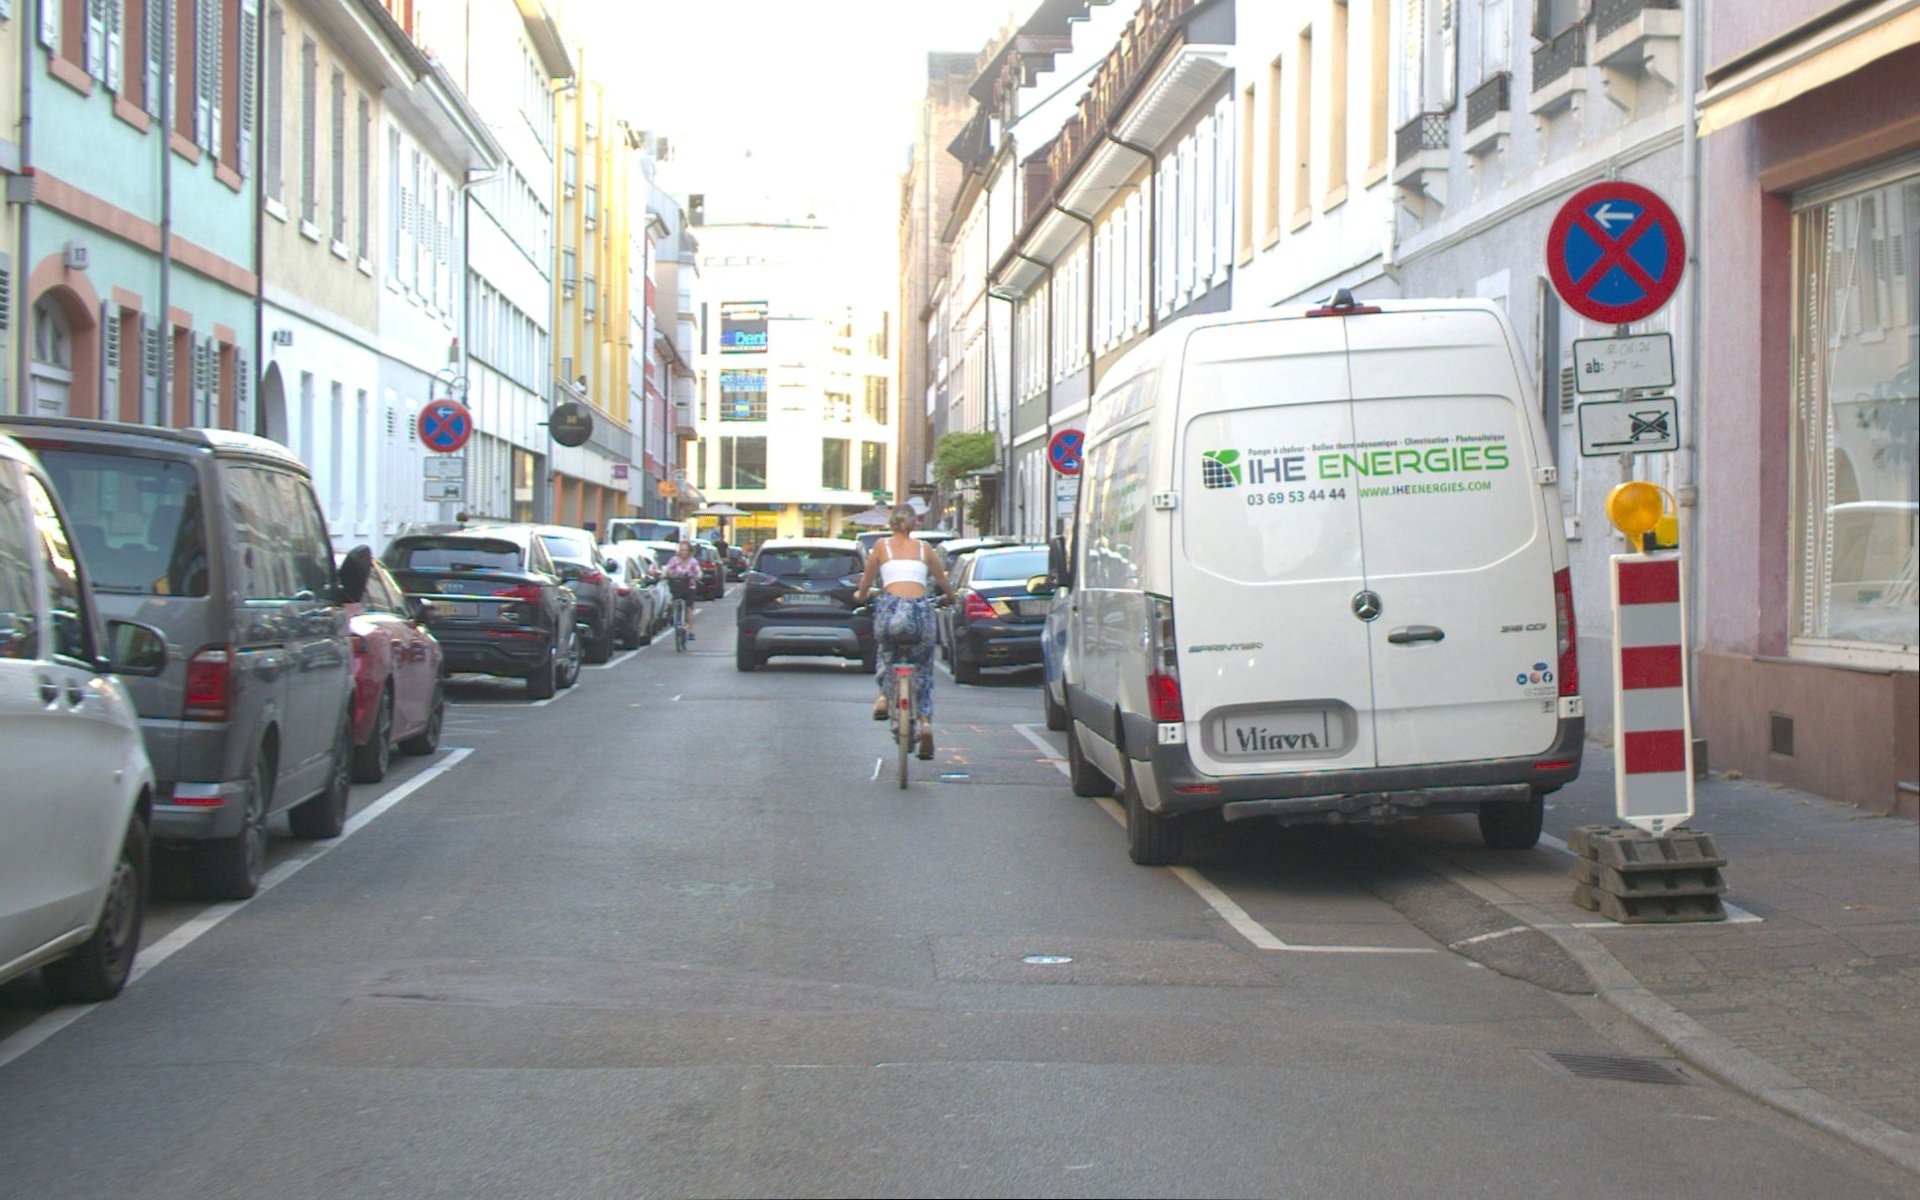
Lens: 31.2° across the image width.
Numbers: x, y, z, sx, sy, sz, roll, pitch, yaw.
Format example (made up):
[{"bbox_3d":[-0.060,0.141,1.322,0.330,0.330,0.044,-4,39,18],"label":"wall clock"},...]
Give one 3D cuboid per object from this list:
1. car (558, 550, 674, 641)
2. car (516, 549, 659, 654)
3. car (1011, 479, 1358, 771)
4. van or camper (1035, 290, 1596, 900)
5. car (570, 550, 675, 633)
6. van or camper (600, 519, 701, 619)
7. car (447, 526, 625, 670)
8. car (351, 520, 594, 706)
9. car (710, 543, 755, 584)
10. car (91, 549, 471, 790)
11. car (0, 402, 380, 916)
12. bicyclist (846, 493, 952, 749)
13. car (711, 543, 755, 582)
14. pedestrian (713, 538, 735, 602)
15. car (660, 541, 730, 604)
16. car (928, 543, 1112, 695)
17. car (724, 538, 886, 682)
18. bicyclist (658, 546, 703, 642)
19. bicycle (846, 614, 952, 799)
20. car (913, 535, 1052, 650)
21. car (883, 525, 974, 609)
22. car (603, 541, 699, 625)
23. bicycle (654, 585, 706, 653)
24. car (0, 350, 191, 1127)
[{"bbox_3d":[-5.713,-0.099,57.372,1.653,1.406,3.903,2,1,-2],"label":"car"},{"bbox_3d":[-5.504,-0.009,51.230,1.918,1.429,4.294,2,1,-4],"label":"car"},{"bbox_3d":[1.569,0.137,26.008,1.941,1.888,5.318,-3,1,-3],"label":"car"},{"bbox_3d":[1.621,-0.081,18.451,2.050,2.628,7.063,1,1,-2],"label":"van or camper"},{"bbox_3d":[-6.127,-0.179,62.719,1.653,1.406,3.606,2,1,-2],"label":"car"},{"bbox_3d":[-6.582,-0.675,73.492,1.844,2.006,4.679,2,1,-2],"label":"van or camper"},{"bbox_3d":[-5.457,-0.059,44.698,1.997,1.701,4.536,2,1,-4],"label":"car"},{"bbox_3d":[-4.679,0.087,33.545,1.802,1.671,4.490,1,1,-1],"label":"car"},{"bbox_3d":[-8.951,-1.454,135.486,1.653,1.555,3.606,2,1,-2],"label":"car"},{"bbox_3d":[-4.328,0.385,22.509,1.764,1.397,4.263,1,1,-2],"label":"car"},{"bbox_3d":[-3.859,0.186,15.845,1.862,2.007,4.815,1,1,-4],"label":"car"},{"bbox_3d":[-0.387,0.127,21.542,0.621,1.569,0.684,1,1,-1],"label":"bicyclist"},{"bbox_3d":[-9.394,-1.556,142.303,1.653,1.555,3.606,2,1,-2],"label":"car"},{"bbox_3d":[-6.464,-0.820,93.979,0.553,1.746,0.568,1,1,-5],"label":"pedestrian"},{"bbox_3d":[-6.936,-0.725,90.214,1.653,1.555,3.606,2,1,-2],"label":"car"},{"bbox_3d":[0.610,0.168,38.858,1.819,1.525,5.071,-3,1,-1],"label":"car"},{"bbox_3d":[-1.901,0.085,41.820,1.819,1.612,4.001,2,1,-3],"label":"car"},{"bbox_3d":[-4.050,-0.090,49.844,0.605,1.365,0.621,1,1,-2],"label":"bicyclist"},{"bbox_3d":[-0.395,0.647,21.647,0.613,1.078,1.809,1,1,-2],"label":"bicycle"},{"bbox_3d":[0.323,-0.150,56.130,1.918,1.732,4.154,2,1,-4],"label":"car"},{"bbox_3d":[-0.649,-0.670,68.243,1.653,1.555,3.606,2,1,-2],"label":"car"},{"bbox_3d":[-6.054,-0.359,67.703,1.653,1.555,3.606,2,1,-2],"label":"car"},{"bbox_3d":[-4.048,0.263,49.746,0.613,0.929,1.887,1,1,-1],"label":"bicycle"},{"bbox_3d":[-3.443,0.342,9.383,1.862,2.007,5.107,1,1,-4],"label":"car"}]
